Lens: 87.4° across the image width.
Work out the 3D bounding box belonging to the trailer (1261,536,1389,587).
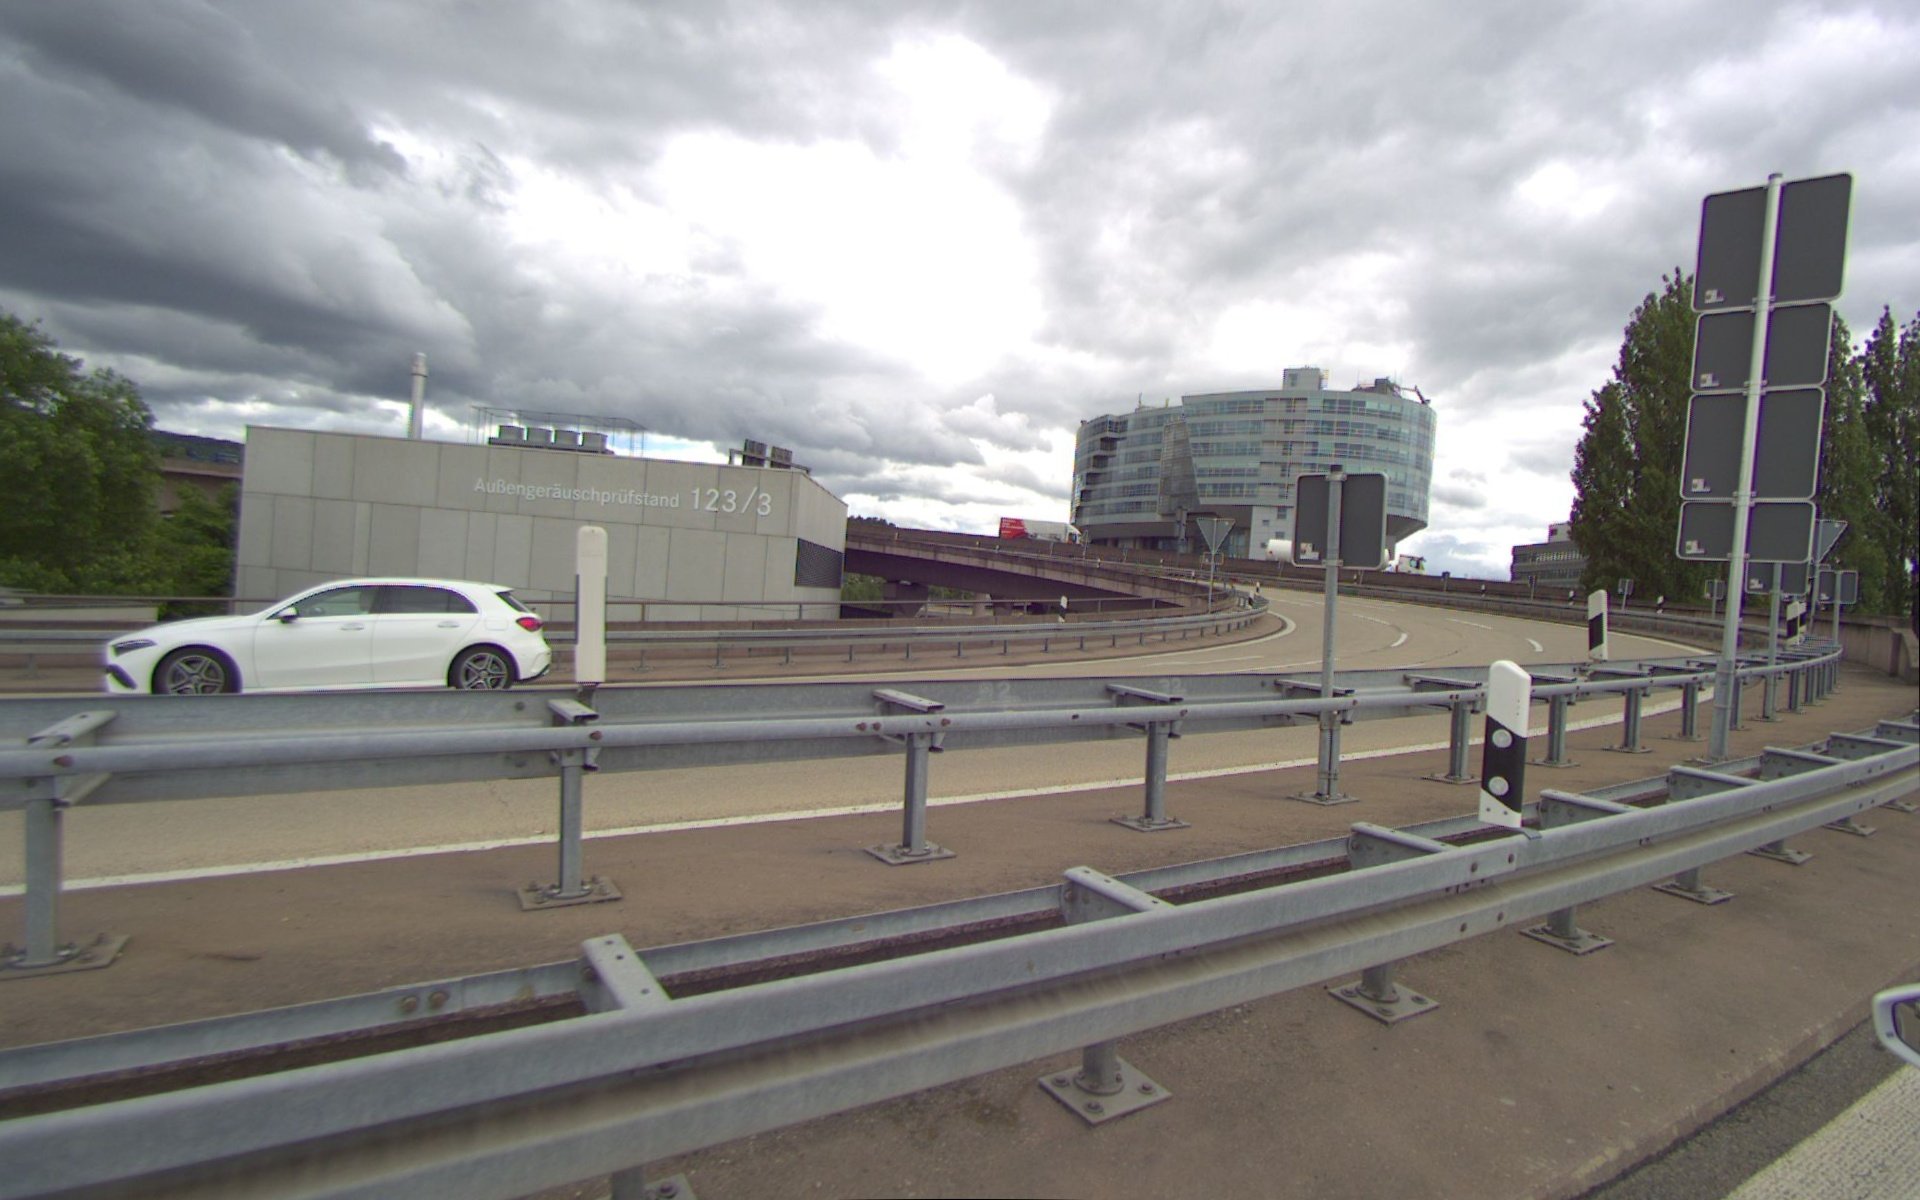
[{"bbox_3d":[34.255,-3.655,94.551,10.938,3.786,2.801,5,1,21],"label":"trailer"}]

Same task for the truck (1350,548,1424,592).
[{"bbox_3d":[39.306,-2.747,92.627,5.848,3.475,2.778,5,1,20],"label":"truck"}]

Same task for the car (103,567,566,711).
[{"bbox_3d":[-7.062,0.441,11.878,4.309,1.433,1.904,1,-1,-27],"label":"car"}]

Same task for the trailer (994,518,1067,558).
[{"bbox_3d":[7.719,-6.810,109.918,7.171,3.739,2.699,5,1,21],"label":"trailer"}]

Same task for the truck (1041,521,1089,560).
[{"bbox_3d":[11.368,-6.466,108.475,4.353,3.739,2.699,5,1,22],"label":"truck"}]
